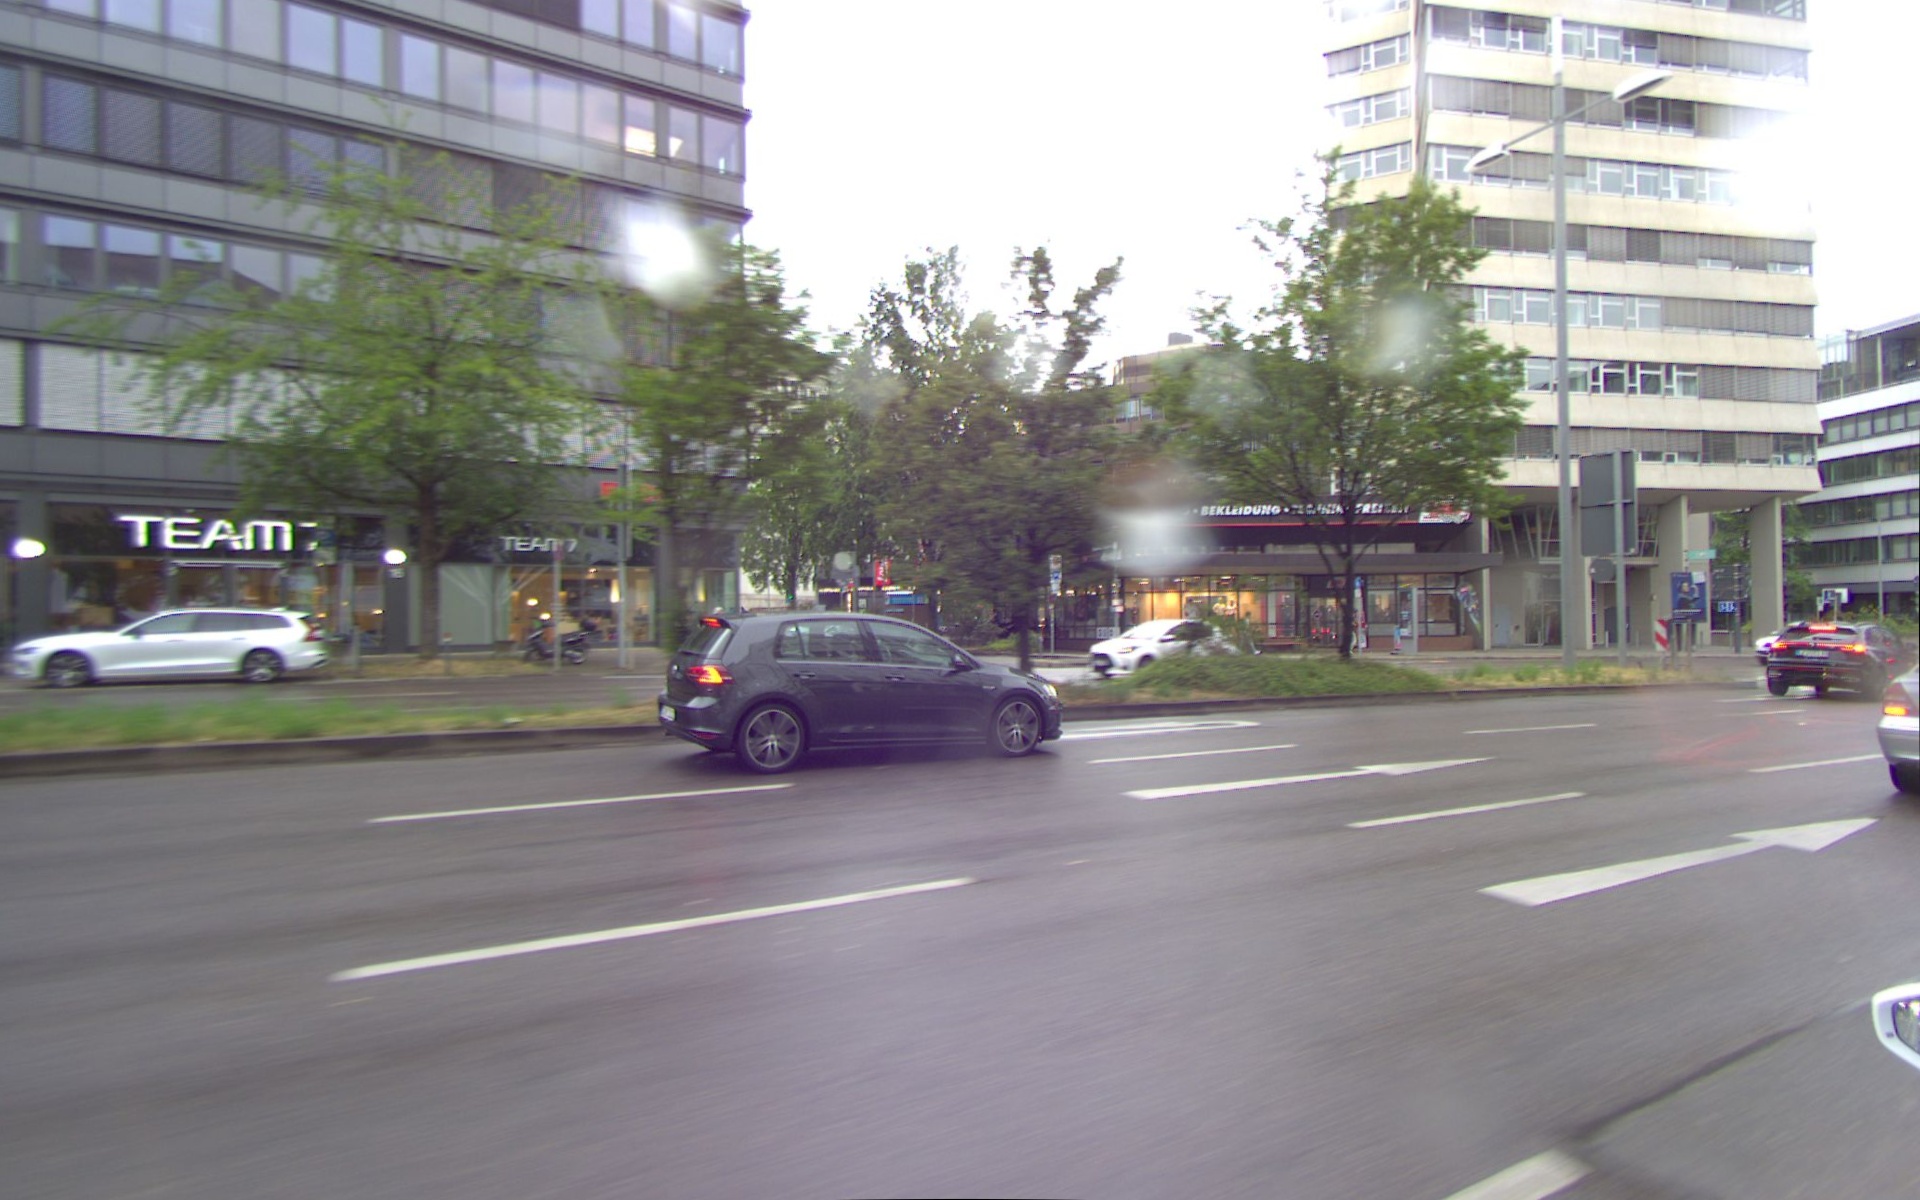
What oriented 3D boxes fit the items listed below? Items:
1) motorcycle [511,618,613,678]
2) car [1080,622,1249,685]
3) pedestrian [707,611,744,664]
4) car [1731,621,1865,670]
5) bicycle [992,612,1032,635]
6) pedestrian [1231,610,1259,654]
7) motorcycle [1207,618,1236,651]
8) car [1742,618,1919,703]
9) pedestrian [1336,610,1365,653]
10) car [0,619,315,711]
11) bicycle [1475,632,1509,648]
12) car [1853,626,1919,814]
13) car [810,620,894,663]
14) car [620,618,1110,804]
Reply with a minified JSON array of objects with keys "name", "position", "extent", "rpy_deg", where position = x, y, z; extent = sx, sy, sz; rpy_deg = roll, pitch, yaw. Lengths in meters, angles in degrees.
[{"name":"motorcycle","position":[-10.109,1.189,25.603],"extent":[0.844,1.412,2.364],"rpy_deg":[3,1,31]},{"name":"car","position":[5.151,1.282,25.221],"extent":[4.032,1.450,1.676],"rpy_deg":[0,-1,-28]},{"name":"pedestrian","position":[-7.604,1.201,32.552],"extent":[0.955,1.659,0.779],"rpy_deg":[0,-1,-32]},{"name":"car","position":[31.700,1.686,38.013],"extent":[4.420,1.751,1.737],"rpy_deg":[1,0,-17]},{"name":"bicycle","position":[3.071,1.408,59.384],"extent":[2.181,1.345,0.913],"rpy_deg":[1,0,-30]},{"name":"pedestrian","position":[12.273,1.364,43.272],"extent":[0.908,1.857,0.818],"rpy_deg":[0,-1,-11]},{"name":"motorcycle","position":[11.903,1.548,45.791],"extent":[0.788,1.392,2.894],"rpy_deg":[1,0,5]},{"name":"car","position":[18.197,1.174,20.899],"extent":[4.441,1.564,1.979],"rpy_deg":[1,-1,-37]},{"name":"pedestrian","position":[16.996,1.378,43.721],"extent":[0.908,1.857,0.728],"rpy_deg":[1,-1,-11]},{"name":"car","position":[-15.295,1.164,19.407],"extent":[4.719,1.505,1.798],"rpy_deg":[1,2,-32]},{"name":"bicycle","position":[28.861,2.181,54.514],"extent":[1.741,0.823,0.454],"rpy_deg":[1,0,-10]},{"name":"car","position":[9.734,0.980,8.828],"extent":[4.148,1.505,1.674],"rpy_deg":[0,-1,-31]},{"name":"car","position":[-4.544,1.686,41.841],"extent":[1.977,1.662,3.966],"rpy_deg":[1,0,-31]},{"name":"car","position":[-0.877,0.943,10.204],"extent":[4.633,1.470,1.830],"rpy_deg":[0,-1,-30]}]
